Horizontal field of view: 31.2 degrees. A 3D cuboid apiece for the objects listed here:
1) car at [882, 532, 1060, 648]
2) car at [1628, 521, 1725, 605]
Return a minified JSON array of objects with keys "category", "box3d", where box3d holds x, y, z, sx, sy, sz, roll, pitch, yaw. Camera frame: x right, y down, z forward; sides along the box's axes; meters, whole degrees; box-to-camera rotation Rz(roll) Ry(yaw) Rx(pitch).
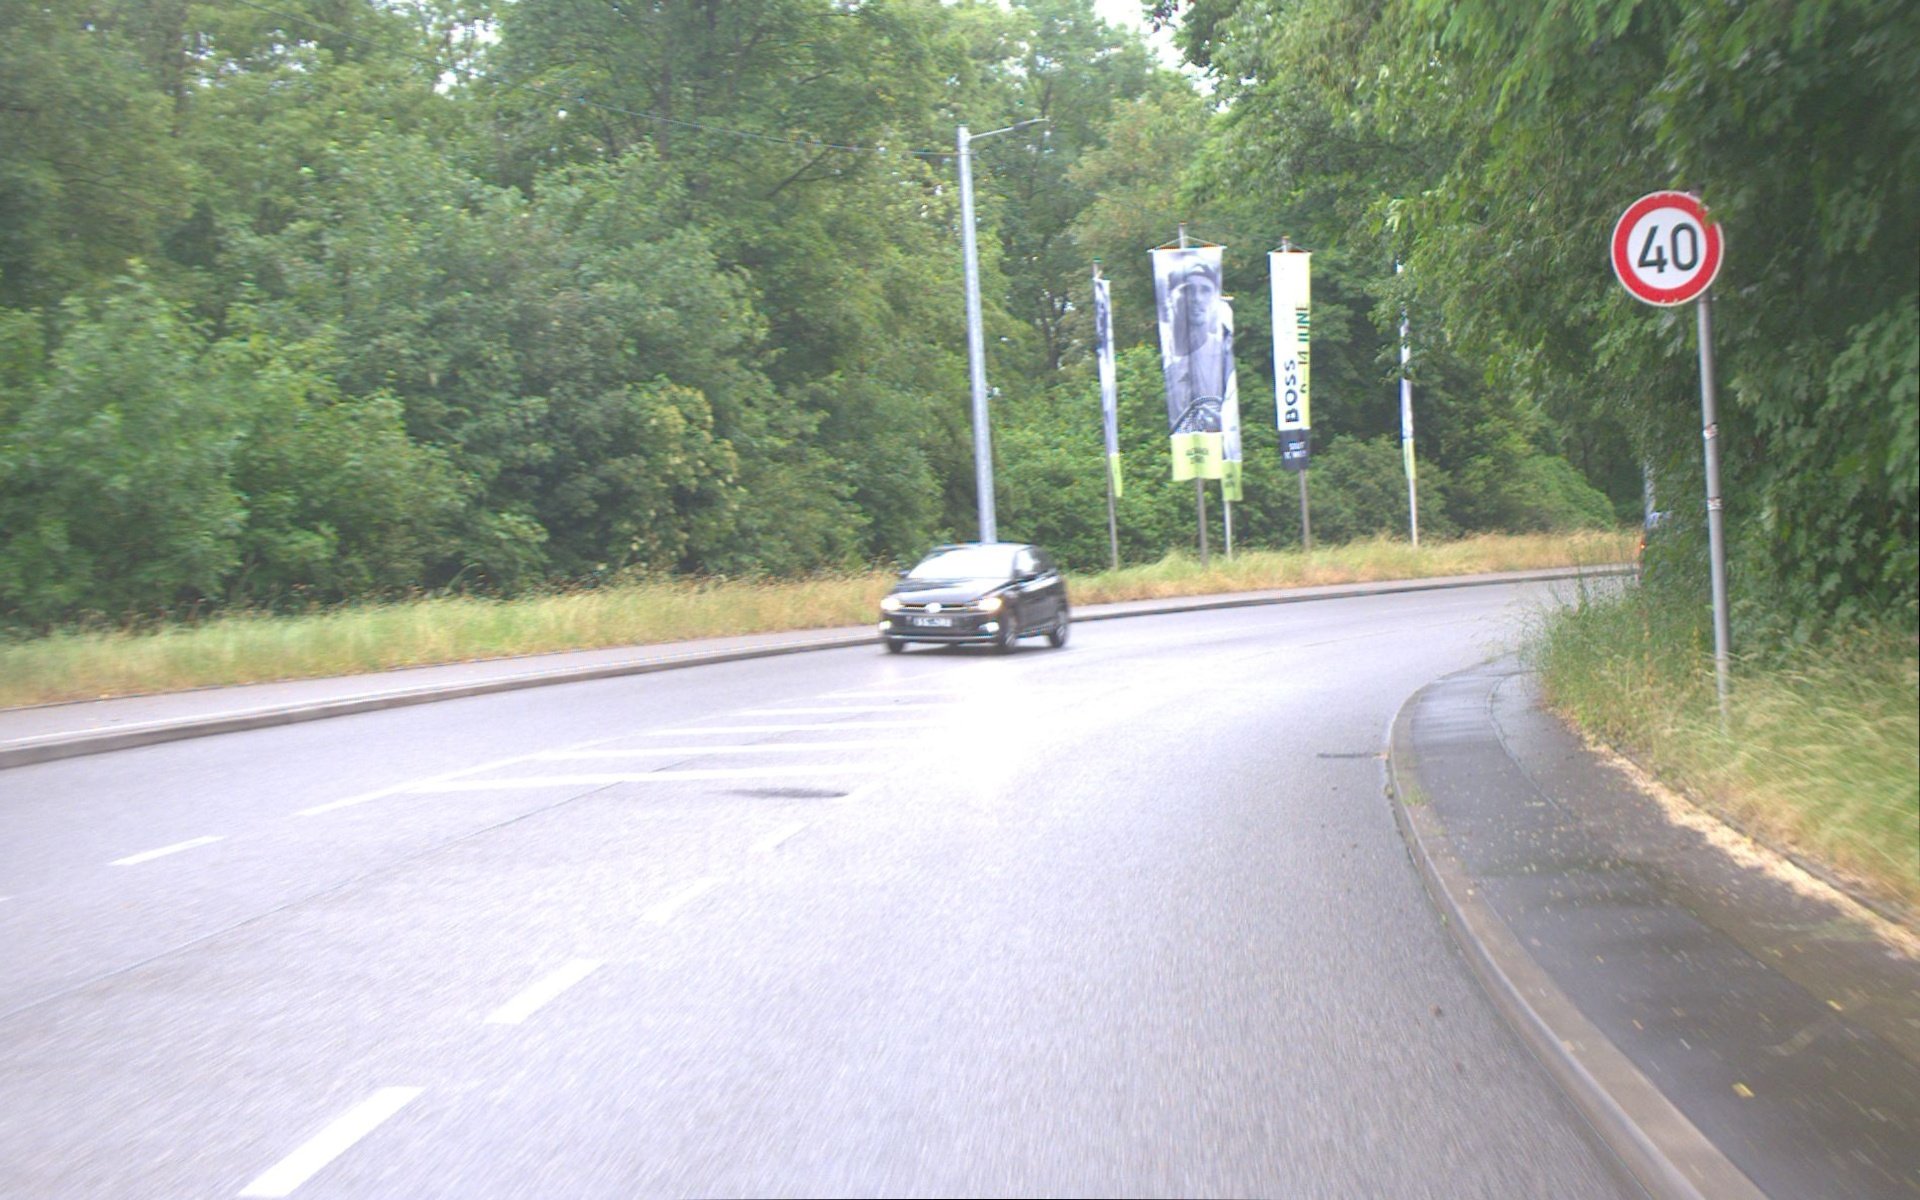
[{"category":"car","box3d":[0.195,-0.164,46.115,1.595,1.472,3.790,1,1,13]},{"category":"car","box3d":[13.980,-0.735,67.167,1.668,1.588,3.681,0,1,9]}]
